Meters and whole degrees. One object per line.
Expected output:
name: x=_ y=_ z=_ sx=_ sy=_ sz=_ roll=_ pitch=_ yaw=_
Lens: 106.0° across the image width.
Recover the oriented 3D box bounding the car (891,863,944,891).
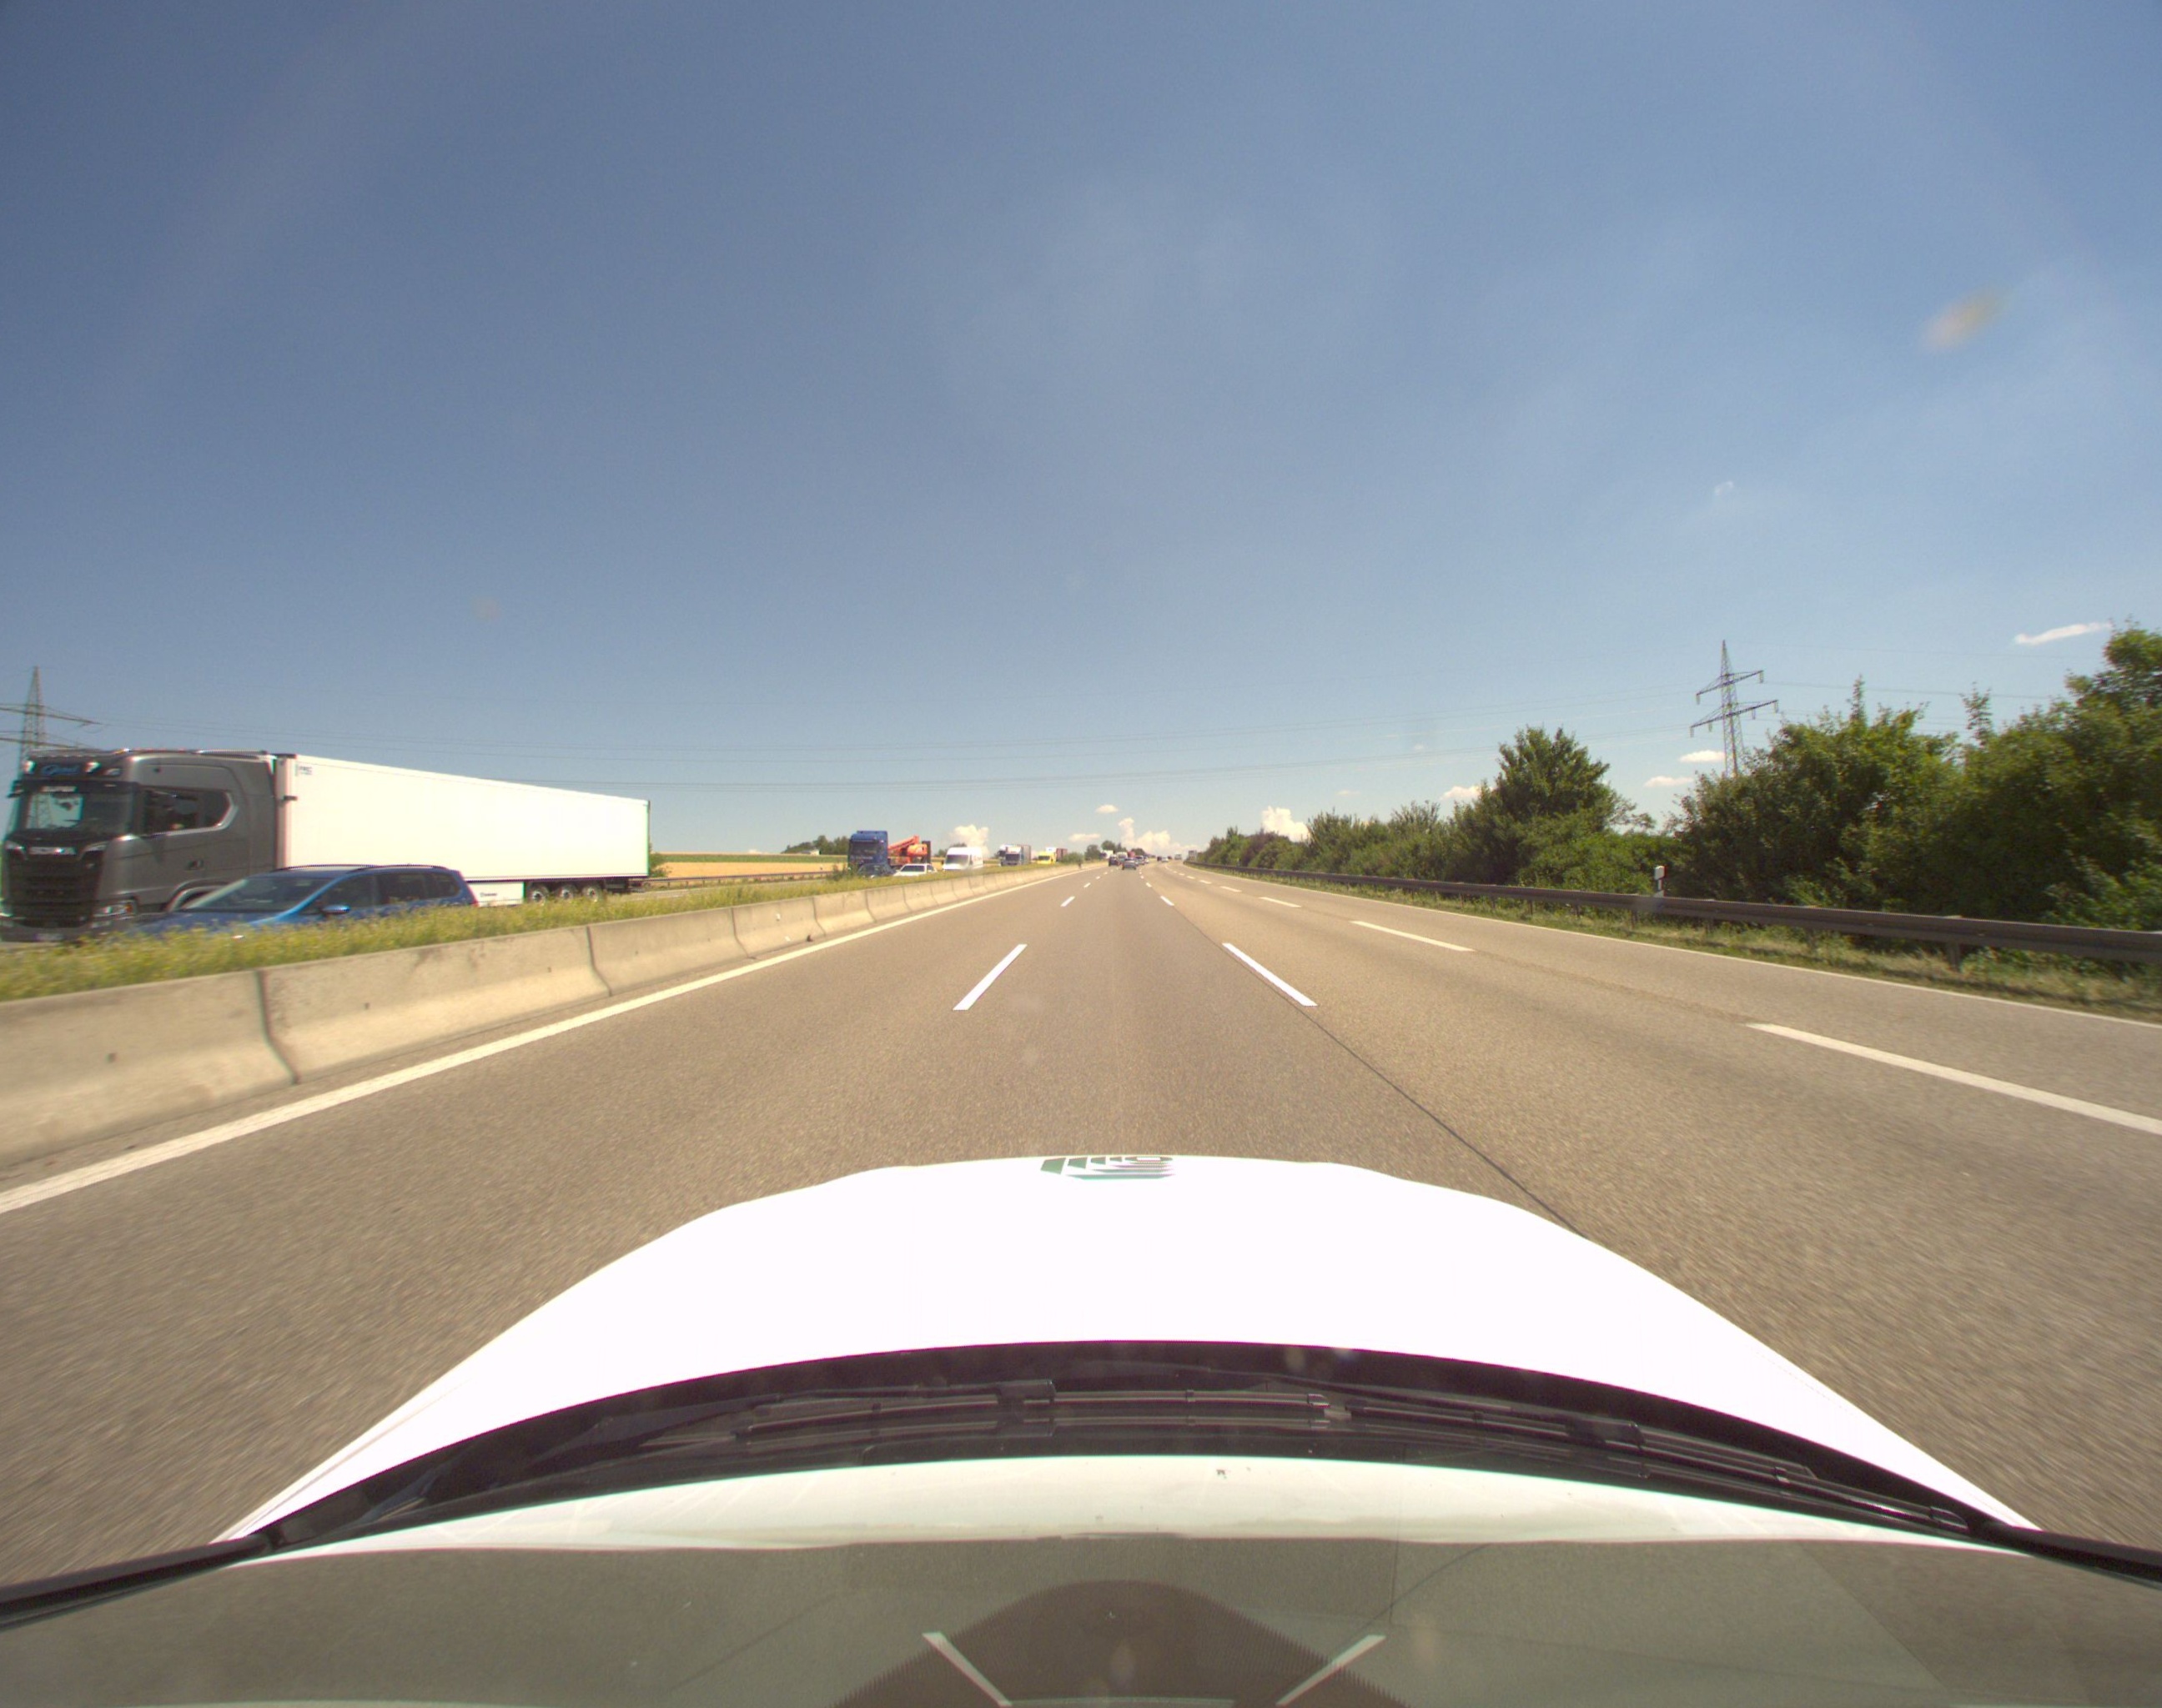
car: x=-9.795 y=1.352 z=49.323 sx=1.919 sy=1.587 sz=5.670 roll=0 pitch=0 yaw=1

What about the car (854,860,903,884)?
car: x=-12.968 y=1.113 z=52.479 sx=1.811 sy=1.479 sz=4.506 roll=0 pitch=0 yaw=3

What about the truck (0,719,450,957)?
truck: x=-18.481 y=-0.263 z=18.049 sx=3.214 sy=4.206 sz=7.130 roll=-1 pitch=0 yaw=2

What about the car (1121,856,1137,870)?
car: x=6.286 y=1.199 z=106.909 sx=1.985 sy=1.750 sz=4.002 roll=0 pitch=-3 yaw=3

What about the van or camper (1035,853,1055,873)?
van or camper: x=-4.982 y=1.250 z=113.220 sx=2.075 sy=2.707 sz=6.145 roll=0 pitch=0 yaw=4

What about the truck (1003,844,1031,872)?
truck: x=-8.827 y=0.496 z=113.266 sx=2.923 sy=3.743 sz=7.786 roll=0 pitch=0 yaw=3

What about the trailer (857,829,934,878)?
trailer: x=-16.028 y=0.018 z=71.641 sx=2.827 sy=3.958 sz=13.739 roll=0 pitch=-1 yaw=3

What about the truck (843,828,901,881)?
truck: x=-16.446 y=0.041 z=64.501 sx=2.765 sy=3.938 sz=6.142 roll=-1 pitch=0 yaw=2

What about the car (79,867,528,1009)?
car: x=-11.170 y=1.071 z=12.417 sx=1.986 sy=1.667 sz=4.965 roll=0 pitch=0 yaw=1

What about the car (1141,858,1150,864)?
car: x=15.826 y=1.733 z=198.838 sx=1.984 sy=1.552 sz=4.006 roll=1 pitch=0 yaw=5

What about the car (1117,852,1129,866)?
car: x=8.790 y=0.987 z=168.613 sx=2.168 sy=2.625 sz=4.680 roll=0 pitch=-3 yaw=7

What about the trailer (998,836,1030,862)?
trailer: x=-11.196 y=-0.726 z=137.376 sx=2.779 sy=4.105 sz=14.028 roll=0 pitch=-1 yaw=6

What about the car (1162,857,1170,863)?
car: x=23.710 y=1.671 z=227.590 sx=1.891 sy=1.442 sz=4.010 roll=0 pitch=0 yaw=9

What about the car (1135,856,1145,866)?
car: x=11.870 y=1.423 z=163.697 sx=1.984 sy=1.904 sz=4.005 roll=-1 pitch=-3 yaw=5

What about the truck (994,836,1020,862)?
truck: x=-11.834 y=-0.708 z=130.885 sx=2.839 sy=4.027 sz=6.524 roll=0 pitch=-1 yaw=6

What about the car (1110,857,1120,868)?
car: x=6.201 y=1.487 z=148.575 sx=1.839 sy=1.861 sz=4.210 roll=0 pitch=0 yaw=4

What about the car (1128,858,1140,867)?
car: x=9.286 y=1.508 z=142.673 sx=1.986 sy=1.585 sz=4.001 roll=-1 pitch=-2 yaw=2

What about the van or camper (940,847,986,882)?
van or camper: x=-8.909 y=0.769 z=62.214 sx=2.059 sy=2.464 sz=7.524 roll=-2 pitch=-1 yaw=2

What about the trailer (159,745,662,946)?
trailer: x=-18.264 y=-0.155 z=24.806 sx=3.229 sy=4.387 sz=14.035 roll=0 pitch=0 yaw=2
